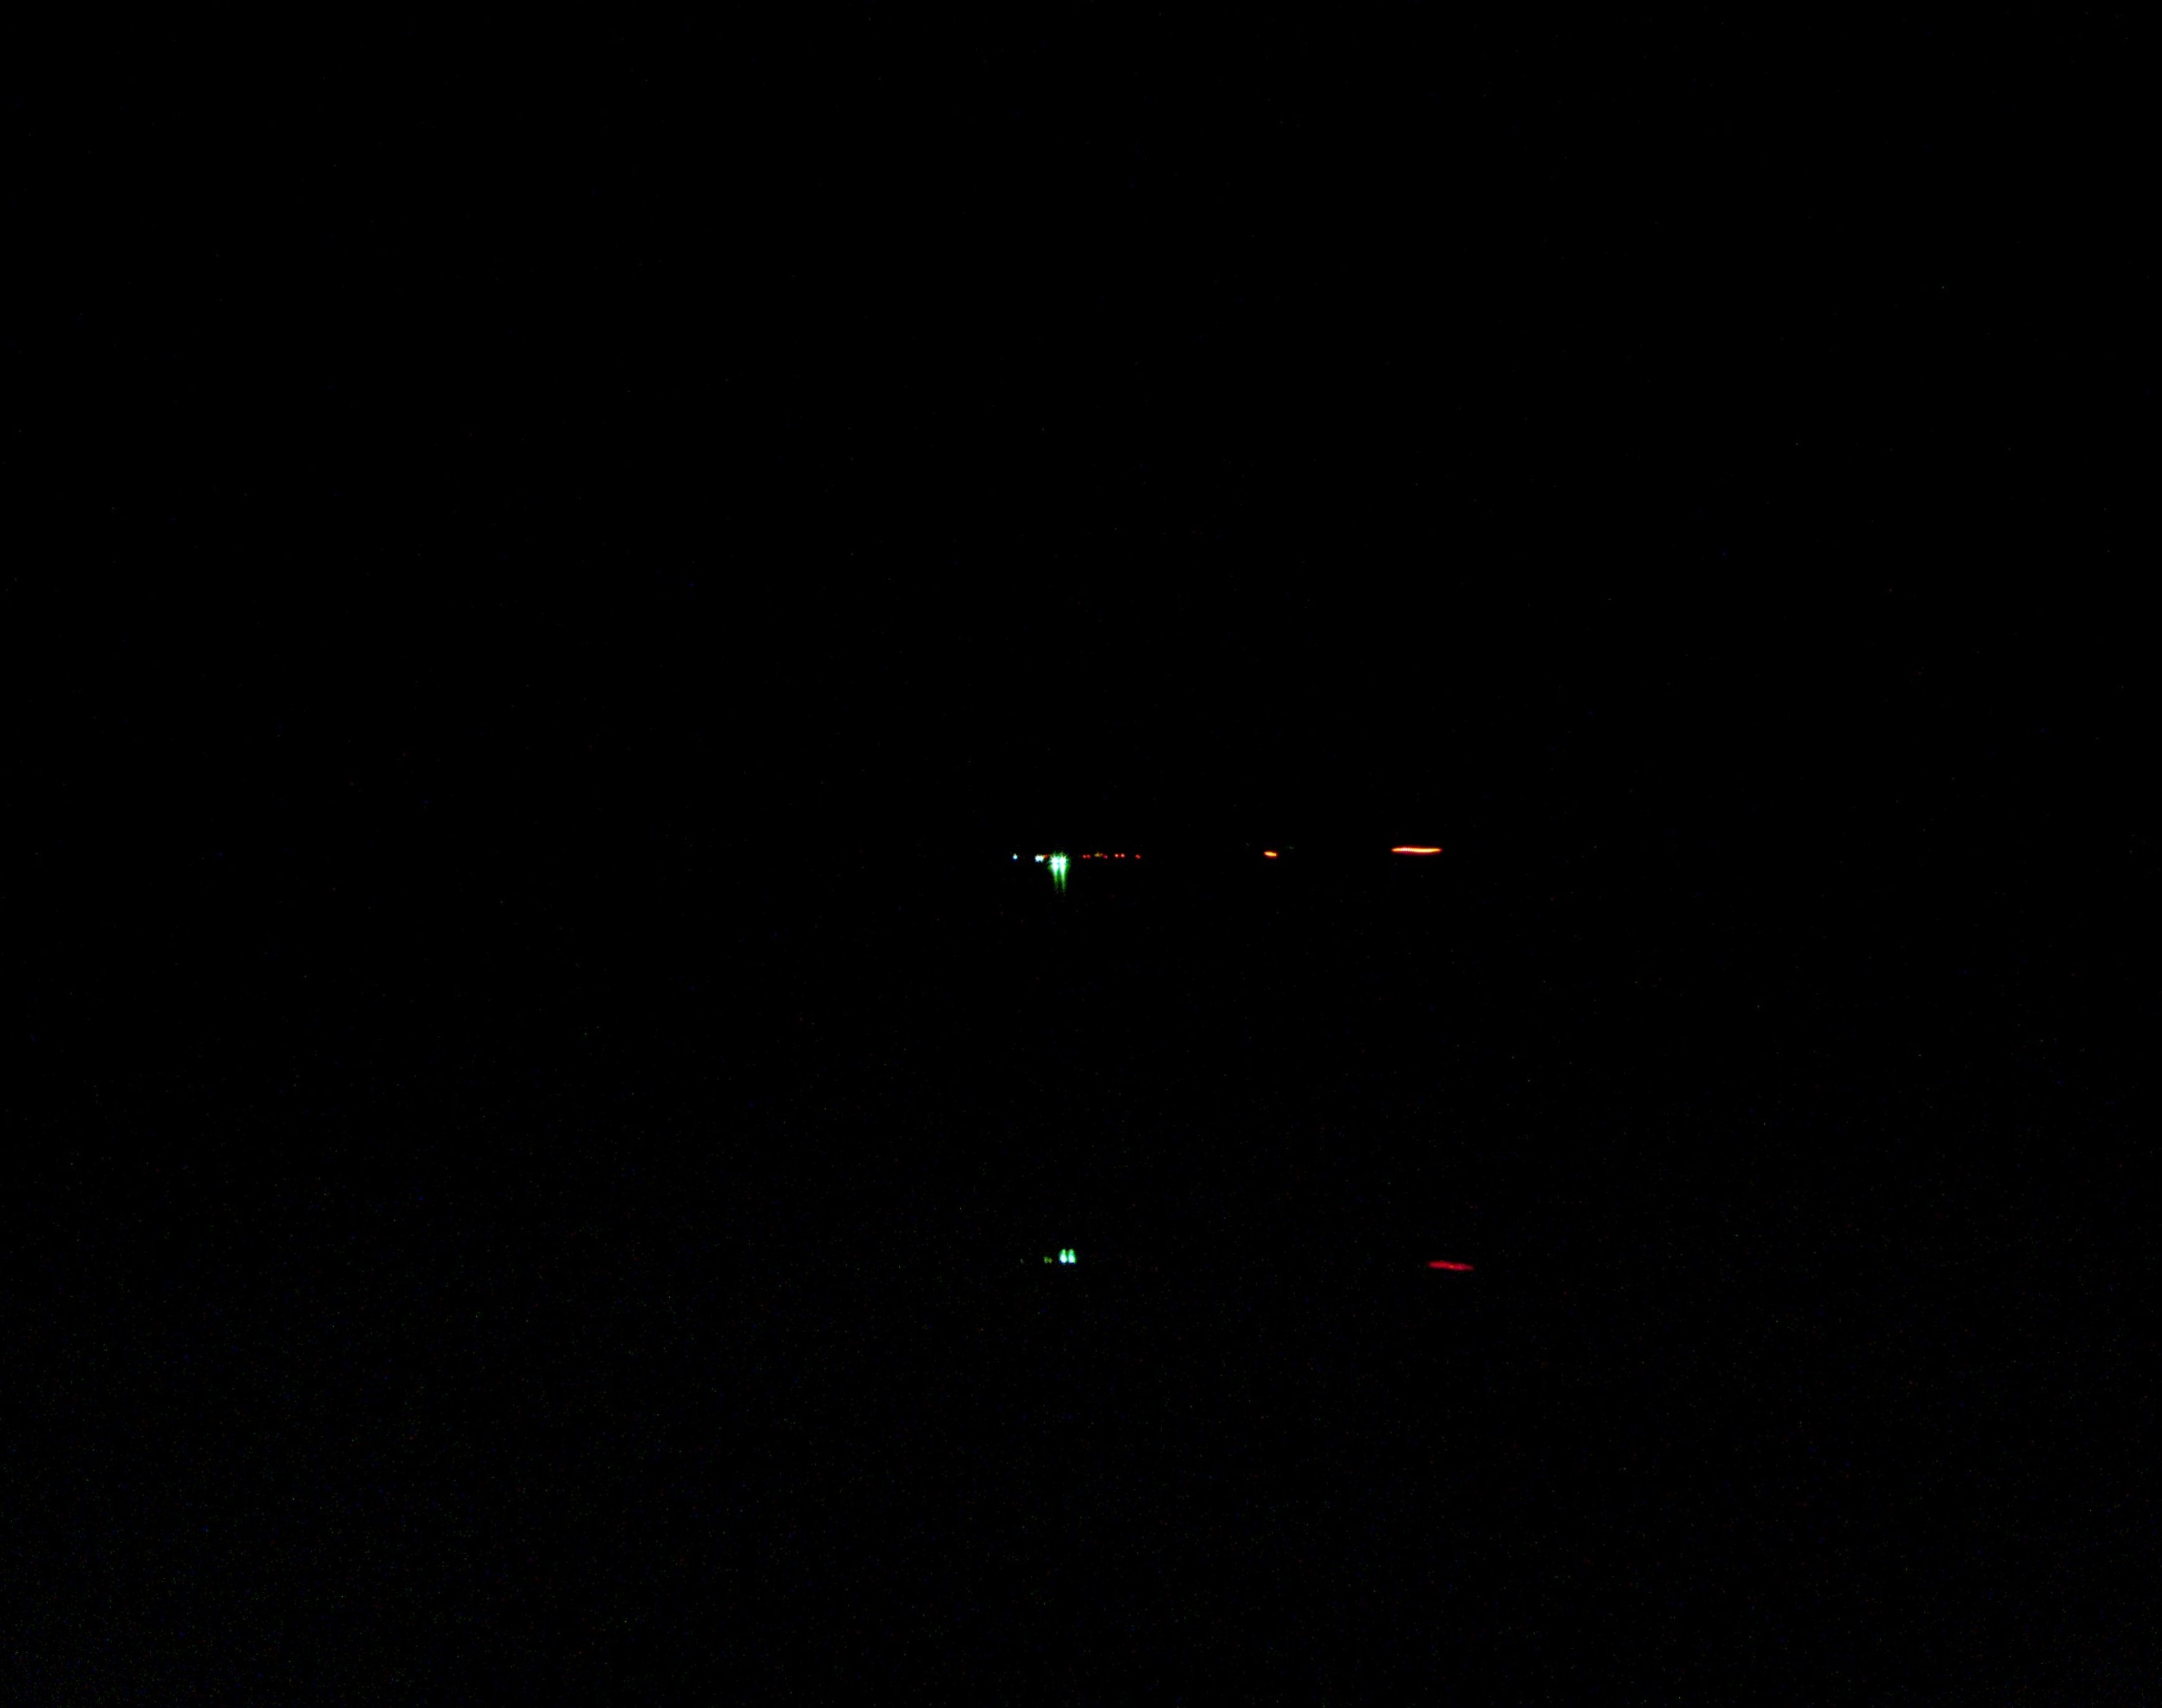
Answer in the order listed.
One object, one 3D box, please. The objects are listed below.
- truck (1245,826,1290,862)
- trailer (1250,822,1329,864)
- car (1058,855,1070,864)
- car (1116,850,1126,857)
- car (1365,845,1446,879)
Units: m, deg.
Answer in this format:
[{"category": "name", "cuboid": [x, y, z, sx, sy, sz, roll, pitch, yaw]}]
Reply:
[{"category": "truck", "cuboid": [21.937, -1.151, 89.763, 3.511, 3.947, 6.698, -2, 1, -1]}, {"category": "trailer", "cuboid": [22.059, -1.121, 81.963, 3.552, 3.977, 17.279, -2, 1, 0]}, {"category": "car", "cuboid": [-3.252, 1.028, 142.116, 2.154, 1.558, 4.580, -2, 1, -2]}, {"category": "car", "cuboid": [10.779, -0.137, 204.801, 1.999, 1.811, 5.684, -2, 1, -5]}, {"category": "car", "cuboid": [15.355, 0.355, 36.224, 1.998, 1.460, 4.399, -2, 1, 1]}]
